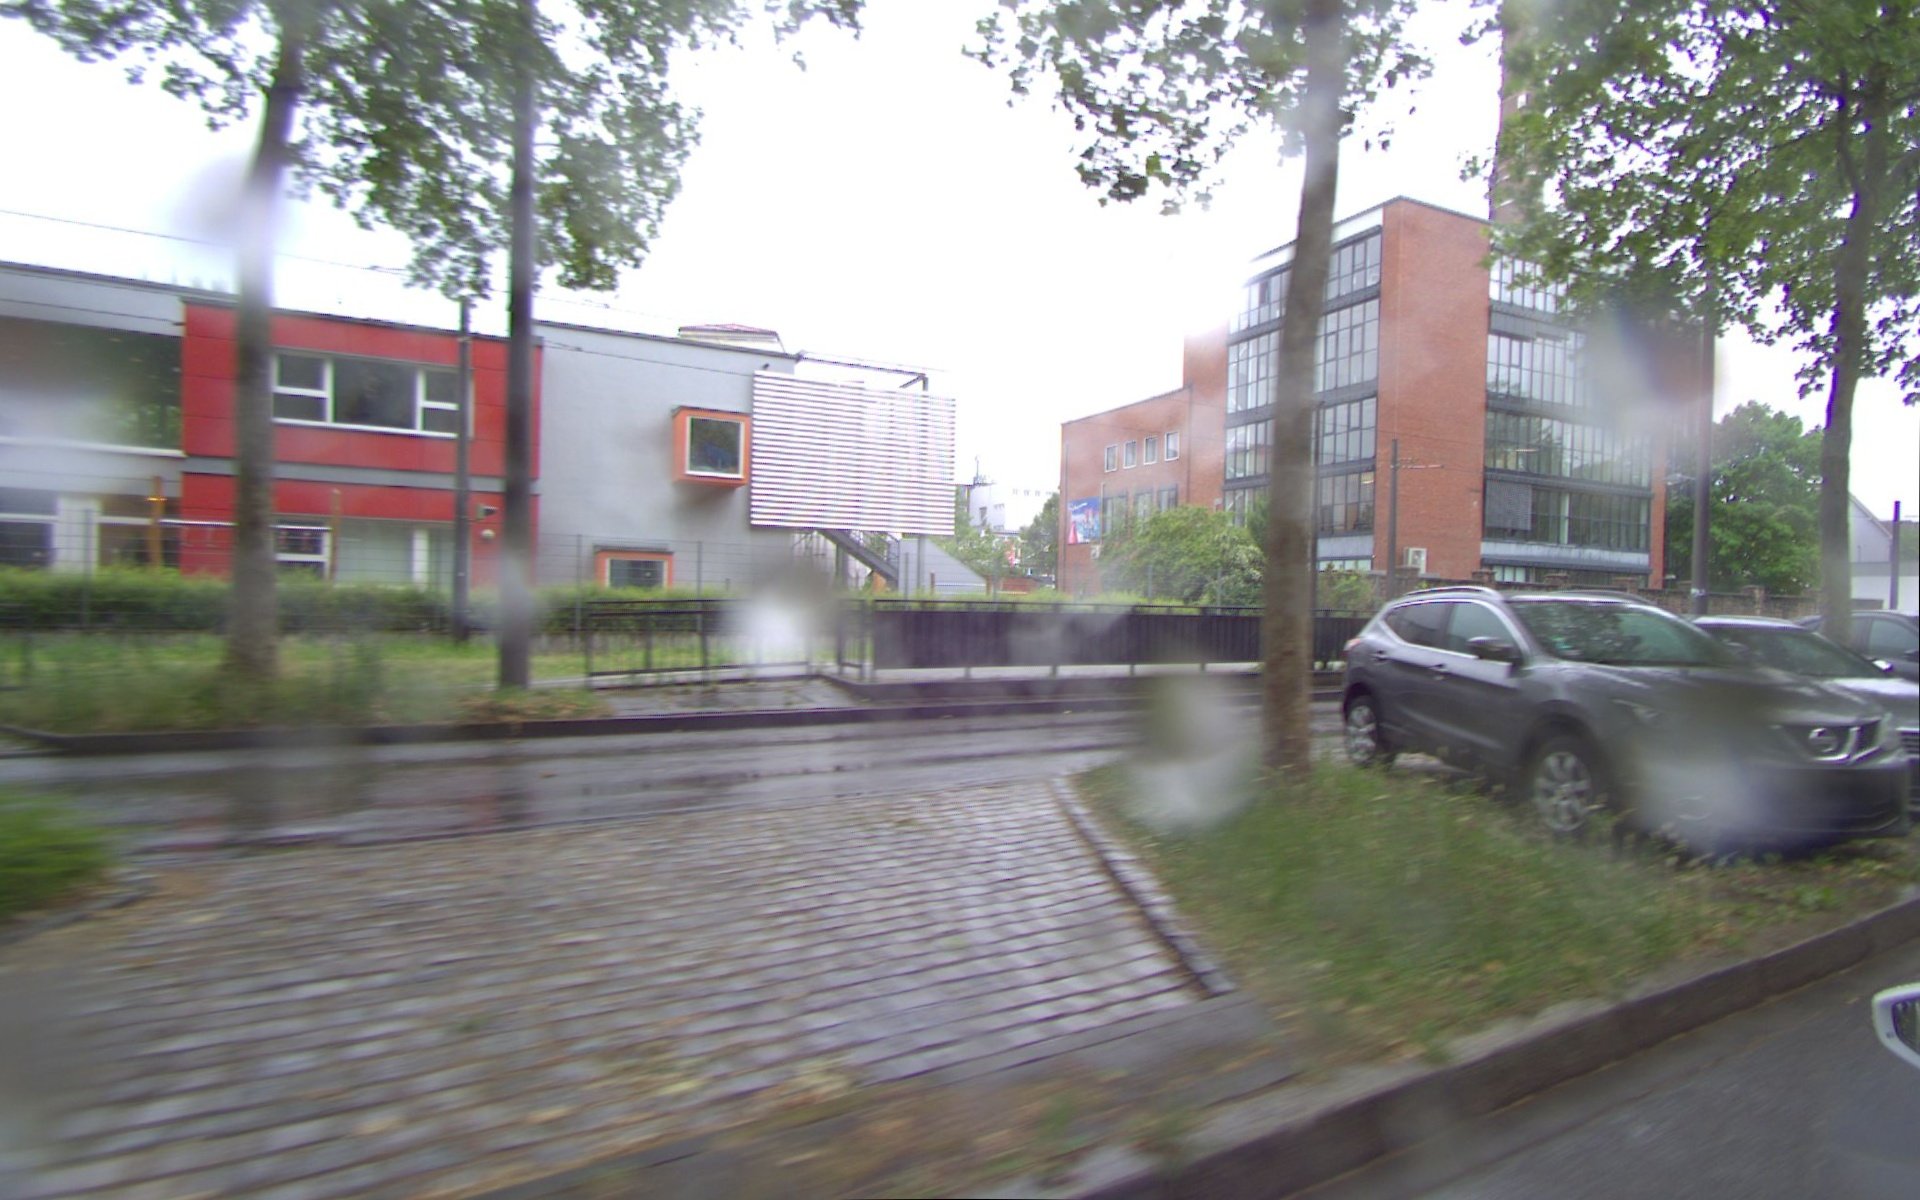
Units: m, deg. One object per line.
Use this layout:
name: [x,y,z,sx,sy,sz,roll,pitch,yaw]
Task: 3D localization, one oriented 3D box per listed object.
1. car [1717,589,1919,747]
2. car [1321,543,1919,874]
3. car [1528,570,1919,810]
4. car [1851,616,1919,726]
car: [11.516,0.743,11.728,1.922,1.737,4.534,-2,-2,1]
car: [4.465,0.534,7.210,1.886,1.618,4.470,0,0,-4]
car: [7.102,0.635,8.725,1.885,1.541,4.562,0,-1,2]
car: [14.520,0.953,13.094,1.922,1.532,4.366,-2,-2,1]
